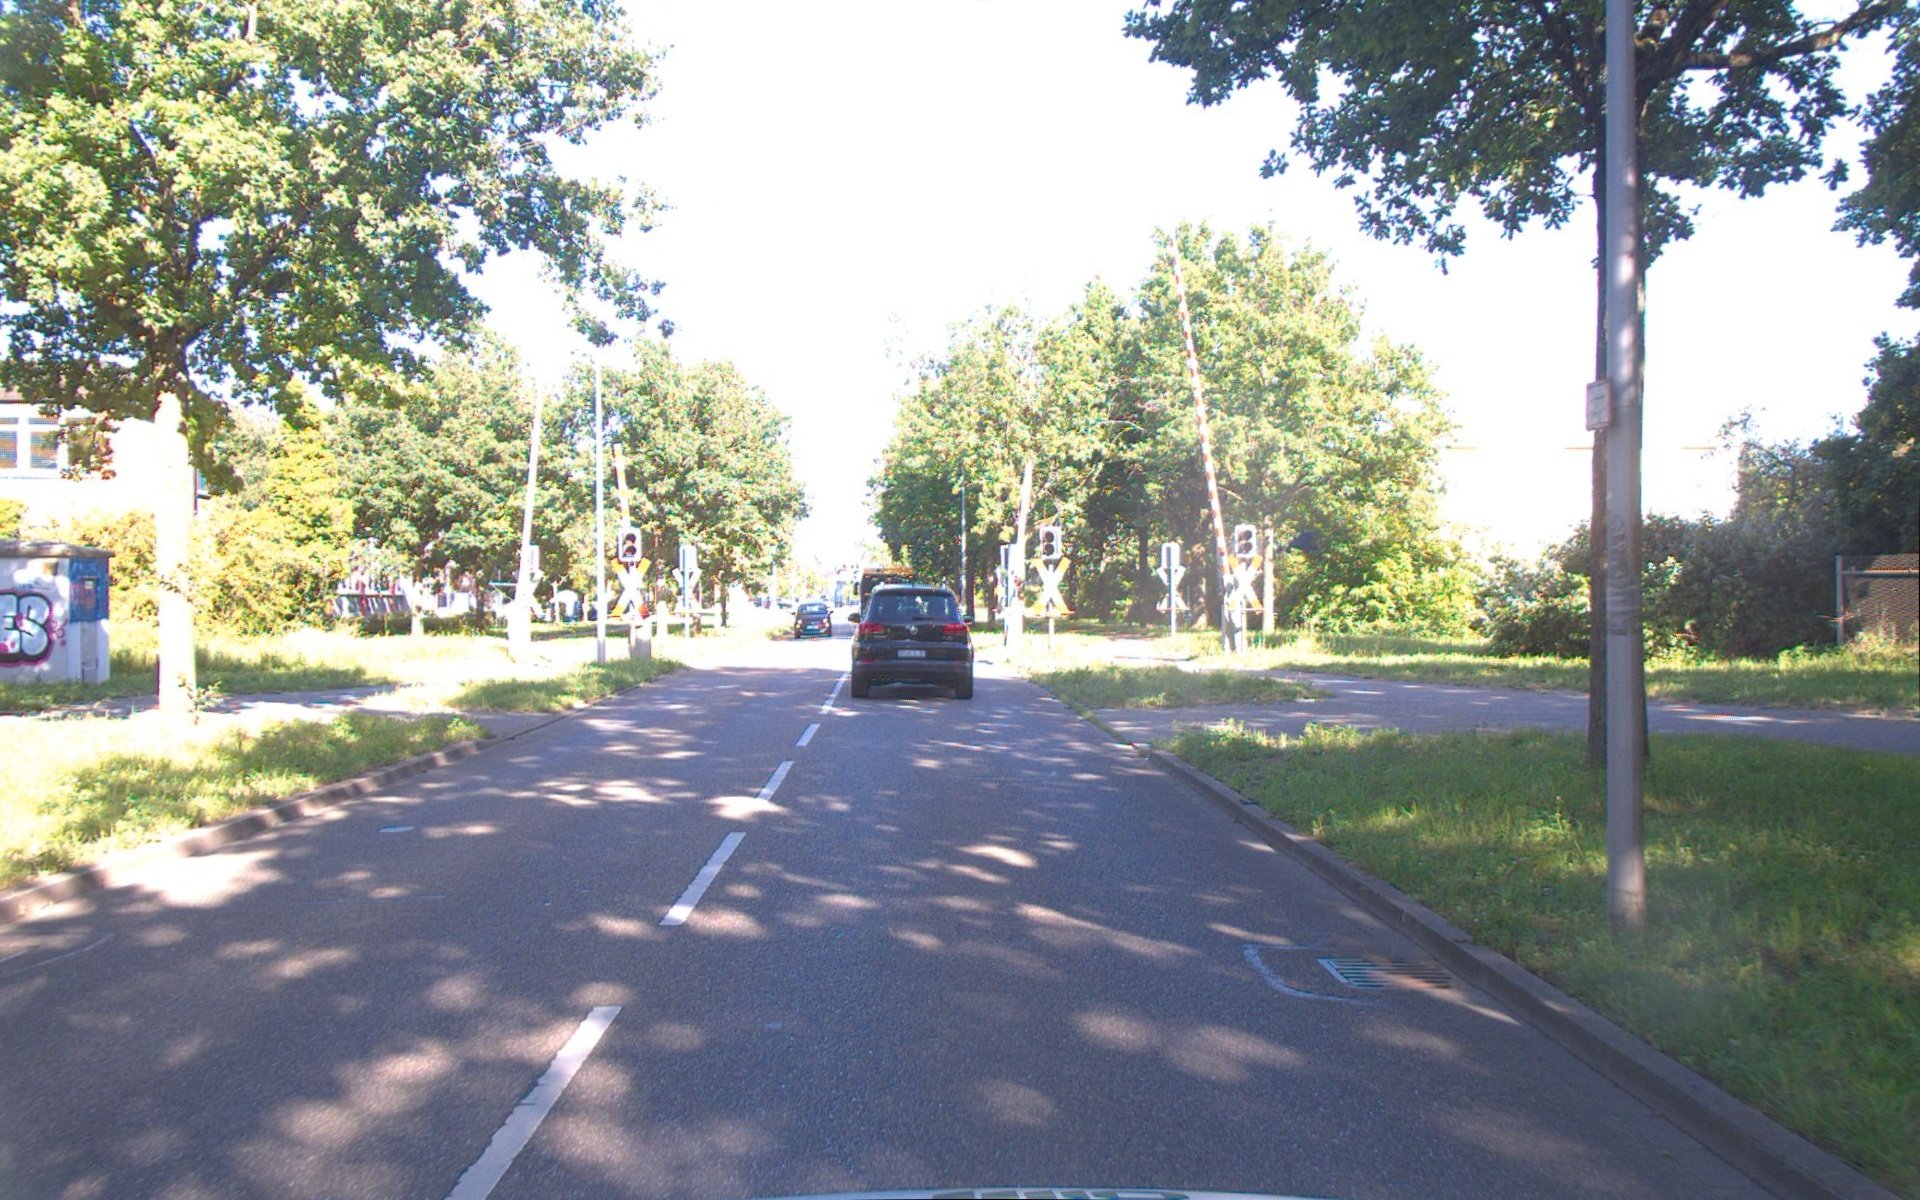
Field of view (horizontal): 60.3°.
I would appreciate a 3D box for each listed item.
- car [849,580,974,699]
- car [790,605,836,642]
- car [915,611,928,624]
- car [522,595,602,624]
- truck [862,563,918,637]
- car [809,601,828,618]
[{"bbox_3d":[-0.735,0.557,25.502,1.746,1.662,3.999,1,0,-1],"label":"car"},{"bbox_3d":[-6.329,1.002,71.603,1.533,1.531,4.000,1,0,1],"label":"car"},{"bbox_3d":[-4.367,1.966,186.539,1.423,1.430,2.854,1,0,-3],"label":"car"},{"bbox_3d":[-29.495,0.723,122.736,5.691,2.049,1.993,1,0,-14],"label":"car"},{"bbox_3d":[-3.252,-0.016,78.649,2.461,3.300,8.150,-1,0,-1],"label":"truck"},{"bbox_3d":[-17.501,1.186,204.483,1.956,2.049,3.992,1,0,-9],"label":"car"}]
